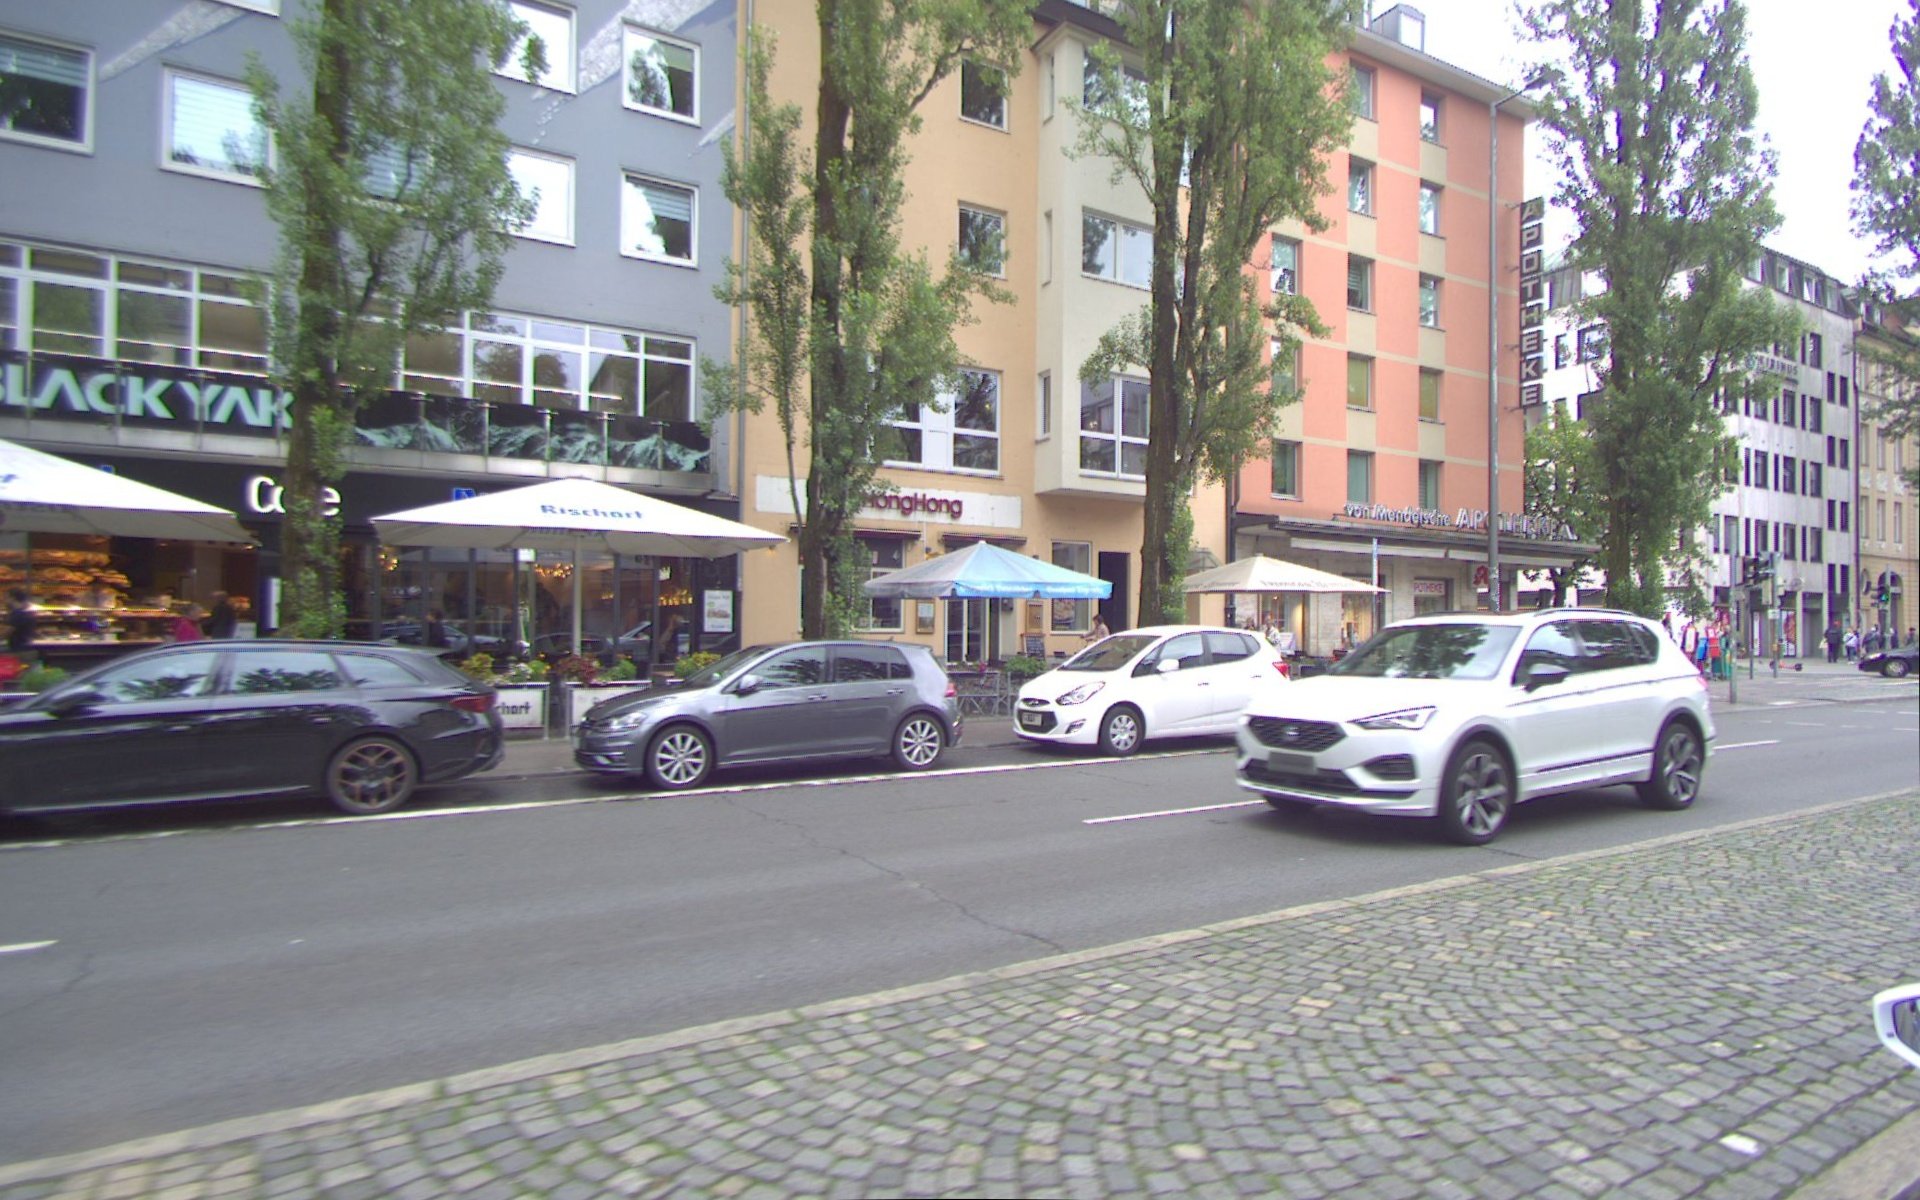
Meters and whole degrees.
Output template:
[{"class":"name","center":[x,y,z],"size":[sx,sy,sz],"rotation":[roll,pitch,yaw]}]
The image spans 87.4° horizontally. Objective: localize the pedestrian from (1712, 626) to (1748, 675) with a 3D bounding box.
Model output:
[{"class":"pedestrian","center":[28.298,1.851,36.908],"size":[0.931,1.763,0.723],"rotation":[1,0,-30]}]

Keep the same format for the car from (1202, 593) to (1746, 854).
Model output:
[{"class":"car","center":[4.345,0.859,8.338],"size":[4.520,1.657,1.836],"rotation":[1,-3,-30]}]

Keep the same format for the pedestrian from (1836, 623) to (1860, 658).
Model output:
[{"class":"pedestrian","center":[45.527,2.072,51.503],"size":[0.810,1.811,0.696],"rotation":[1,-1,-29]}]

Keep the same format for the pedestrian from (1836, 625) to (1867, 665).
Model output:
[{"class":"pedestrian","center":[39.507,1.992,44.500],"size":[0.966,1.704,0.728],"rotation":[1,0,-30]}]

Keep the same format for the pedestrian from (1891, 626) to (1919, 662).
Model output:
[{"class":"pedestrian","center":[43.524,2.021,46.221],"size":[0.923,1.640,0.774],"rotation":[1,-1,-30]}]

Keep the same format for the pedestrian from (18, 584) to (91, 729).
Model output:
[{"class":"pedestrian","center":[-14.461,0.882,16.060],"size":[0.684,2.241,0.777],"rotation":[1,-1,-30]}]

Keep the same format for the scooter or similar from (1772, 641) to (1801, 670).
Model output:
[{"class":"scooter or similar","center":[32.665,2.177,39.694],"size":[0.271,1.107,0.809],"rotation":[1,0,-33]}]

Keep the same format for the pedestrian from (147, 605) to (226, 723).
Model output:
[{"class":"pedestrian","center":[-11.050,0.900,14.374],"size":[0.746,1.623,0.738],"rotation":[1,-1,-28]}]

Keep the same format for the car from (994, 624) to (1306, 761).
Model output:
[{"class":"car","center":[2.604,1.166,13.545],"size":[4.048,1.604,1.695],"rotation":[2,-3,-30]}]

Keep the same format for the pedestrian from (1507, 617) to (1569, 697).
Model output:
[{"class":"pedestrian","center":[13.582,1.328,23.617],"size":[0.975,1.819,0.736],"rotation":[1,0,-12]}]

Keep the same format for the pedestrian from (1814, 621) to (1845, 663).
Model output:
[{"class":"pedestrian","center":[39.126,1.886,45.204],"size":[0.901,1.811,0.796],"rotation":[1,1,-30]}]

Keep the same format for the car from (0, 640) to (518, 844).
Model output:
[{"class":"car","center":[-6.177,1.060,8.390],"size":[4.382,1.431,1.695],"rotation":[2,-3,-30]}]

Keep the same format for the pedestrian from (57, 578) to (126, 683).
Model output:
[{"class":"pedestrian","center":[-15.545,0.546,18.005],"size":[0.733,1.828,0.778],"rotation":[1,-1,-27]}]

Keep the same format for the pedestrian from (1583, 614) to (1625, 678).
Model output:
[{"class":"pedestrian","center":[18.350,1.300,28.622],"size":[0.768,1.794,0.721],"rotation":[1,-1,-29]}]

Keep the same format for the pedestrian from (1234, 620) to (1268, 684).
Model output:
[{"class":"pedestrian","center":[7.691,1.365,26.510],"size":[0.684,1.660,0.552],"rotation":[1,-1,-30]}]

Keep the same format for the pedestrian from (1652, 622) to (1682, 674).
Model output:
[{"class":"pedestrian","center":[23.693,1.614,33.661],"size":[0.513,1.711,0.627],"rotation":[1,0,-28]}]

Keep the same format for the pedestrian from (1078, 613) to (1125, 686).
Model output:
[{"class":"pedestrian","center":[3.348,1.165,23.780],"size":[0.793,1.690,0.776],"rotation":[1,-1,-30]}]

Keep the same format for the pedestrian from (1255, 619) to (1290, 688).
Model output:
[{"class":"pedestrian","center":[8.067,1.366,25.968],"size":[0.684,1.740,0.552],"rotation":[1,-1,-30]}]

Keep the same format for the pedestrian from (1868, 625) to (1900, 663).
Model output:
[{"class":"pedestrian","center":[39.550,1.896,43.010],"size":[0.978,1.588,0.747],"rotation":[1,0,-31]}]

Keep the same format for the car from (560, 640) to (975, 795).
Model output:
[{"class":"car","center":[-1.987,1.148,10.789],"size":[4.137,1.399,1.487],"rotation":[2,-3,-30]}]

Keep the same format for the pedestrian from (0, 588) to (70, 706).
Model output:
[{"class":"pedestrian","center":[-13.591,0.676,14.634],"size":[0.746,1.662,0.738],"rotation":[1,-1,-28]}]

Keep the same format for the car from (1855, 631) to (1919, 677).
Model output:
[{"class":"car","center":[31.785,1.770,32.910],"size":[3.651,1.494,1.763],"rotation":[-1,-2,42]}]

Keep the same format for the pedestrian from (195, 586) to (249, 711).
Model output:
[{"class":"pedestrian","center":[-13.654,0.887,18.605],"size":[0.684,2.241,0.777],"rotation":[1,-1,-30]}]
